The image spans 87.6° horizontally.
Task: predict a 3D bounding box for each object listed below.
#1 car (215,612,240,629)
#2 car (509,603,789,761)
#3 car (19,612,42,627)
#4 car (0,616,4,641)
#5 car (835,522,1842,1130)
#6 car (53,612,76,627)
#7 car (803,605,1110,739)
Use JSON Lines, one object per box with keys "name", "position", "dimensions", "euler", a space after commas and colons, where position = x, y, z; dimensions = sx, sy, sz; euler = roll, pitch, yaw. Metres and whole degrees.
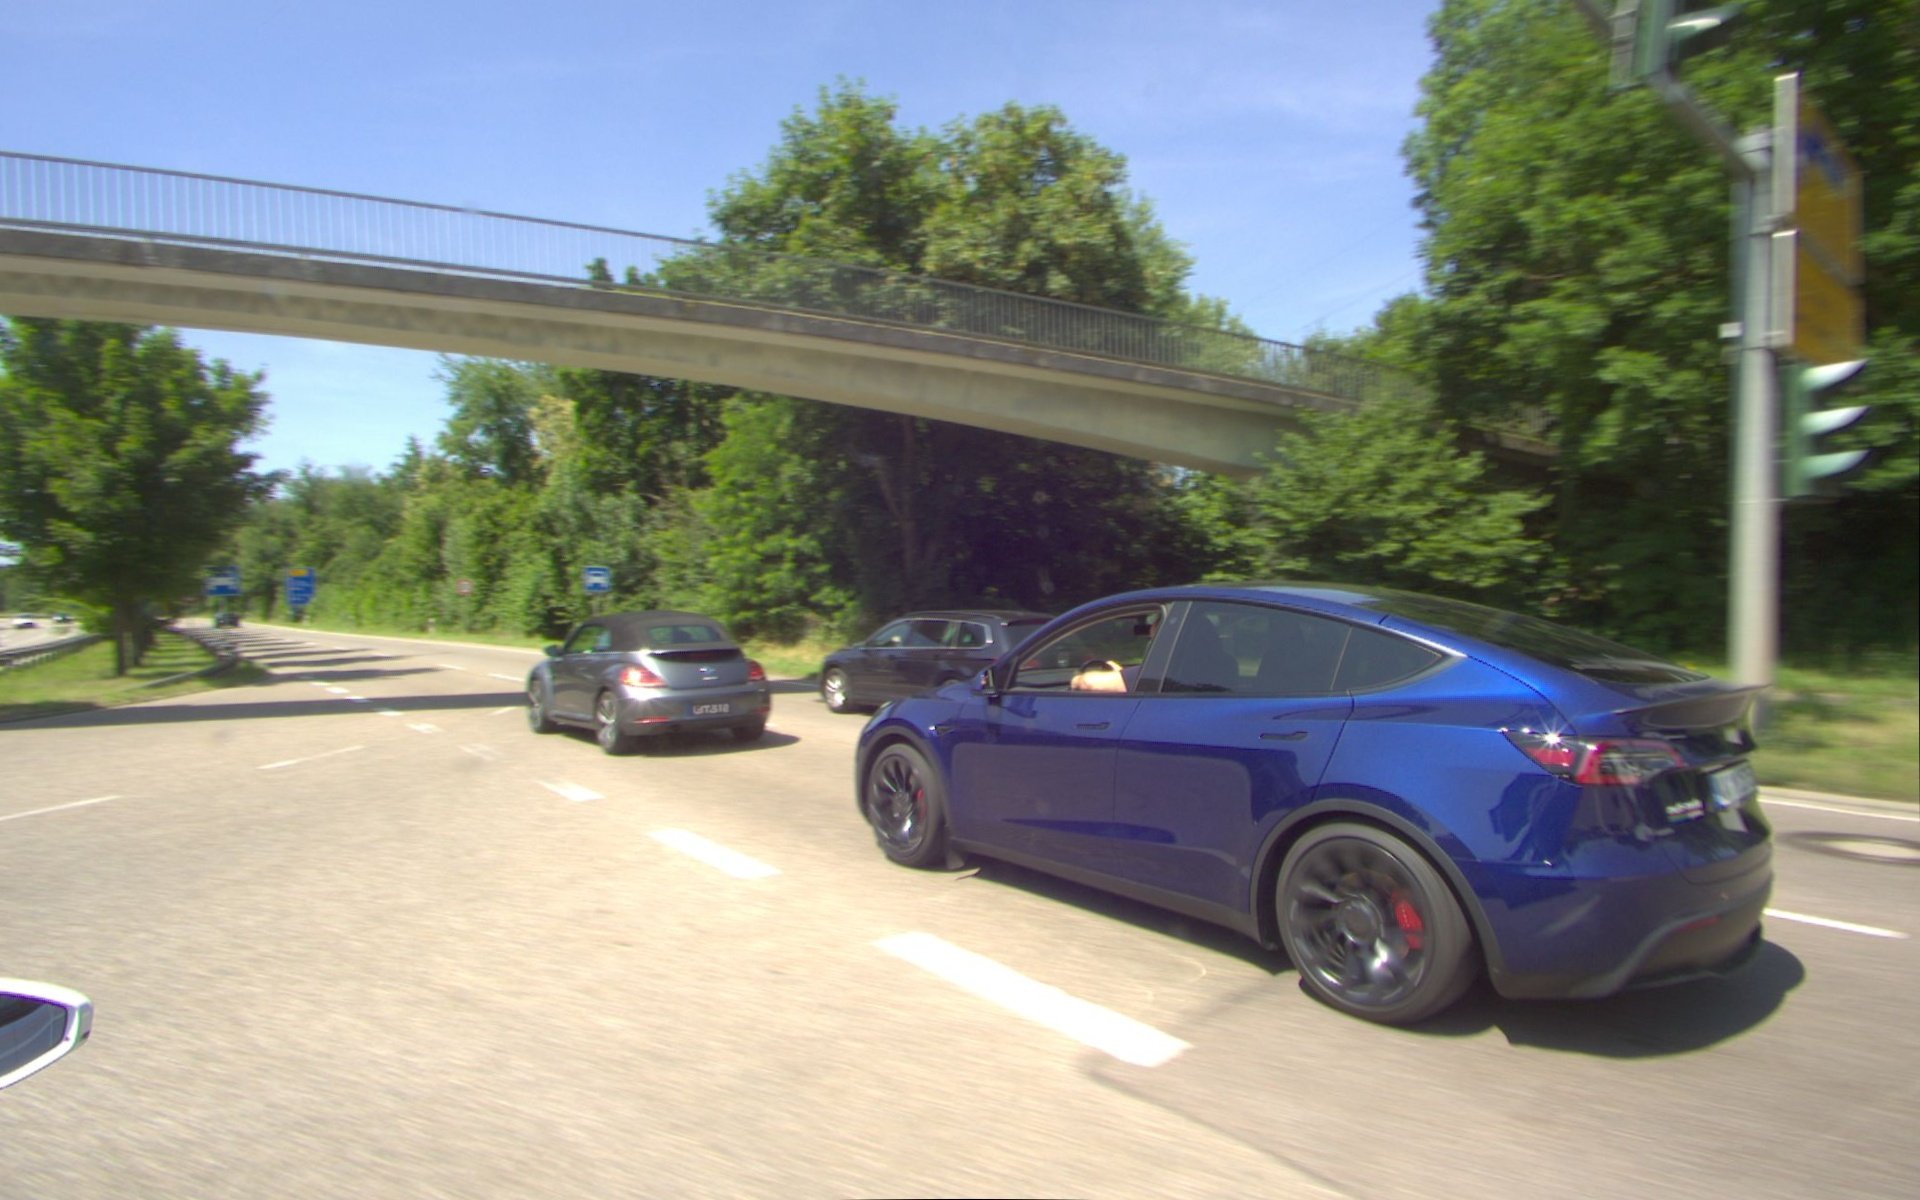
{"name": "car", "position": [-78.916, 2.198, 107.861], "dimensions": [2.022, 1.721, 5.051], "euler": [-1, 1, -35]}
{"name": "car", "position": [-3.788, 0.812, 11.774], "dimensions": [1.884, 1.497, 3.908], "euler": [-1, 0, -38]}
{"name": "car", "position": [-113.945, 2.380, 122.714], "dimensions": [1.981, 1.772, 3.961], "euler": [1, -2, -44]}
{"name": "car", "position": [-63.463, 1.915, 64.711], "dimensions": [1.990, 1.623, 4.024], "euler": [-3, 1, -38]}
{"name": "car", "position": [1.347, 0.653, 5.096], "dimensions": [1.885, 1.666, 4.483], "euler": [1, -1, -39]}
{"name": "car", "position": [-123.247, 2.673, 137.832], "dimensions": [3.955, 2.039, 1.984], "euler": [-2, -2, 41]}
{"name": "car", "position": [-0.218, 0.835, 13.433], "dimensions": [1.884, 1.497, 4.346], "euler": [1, -1, -38]}
